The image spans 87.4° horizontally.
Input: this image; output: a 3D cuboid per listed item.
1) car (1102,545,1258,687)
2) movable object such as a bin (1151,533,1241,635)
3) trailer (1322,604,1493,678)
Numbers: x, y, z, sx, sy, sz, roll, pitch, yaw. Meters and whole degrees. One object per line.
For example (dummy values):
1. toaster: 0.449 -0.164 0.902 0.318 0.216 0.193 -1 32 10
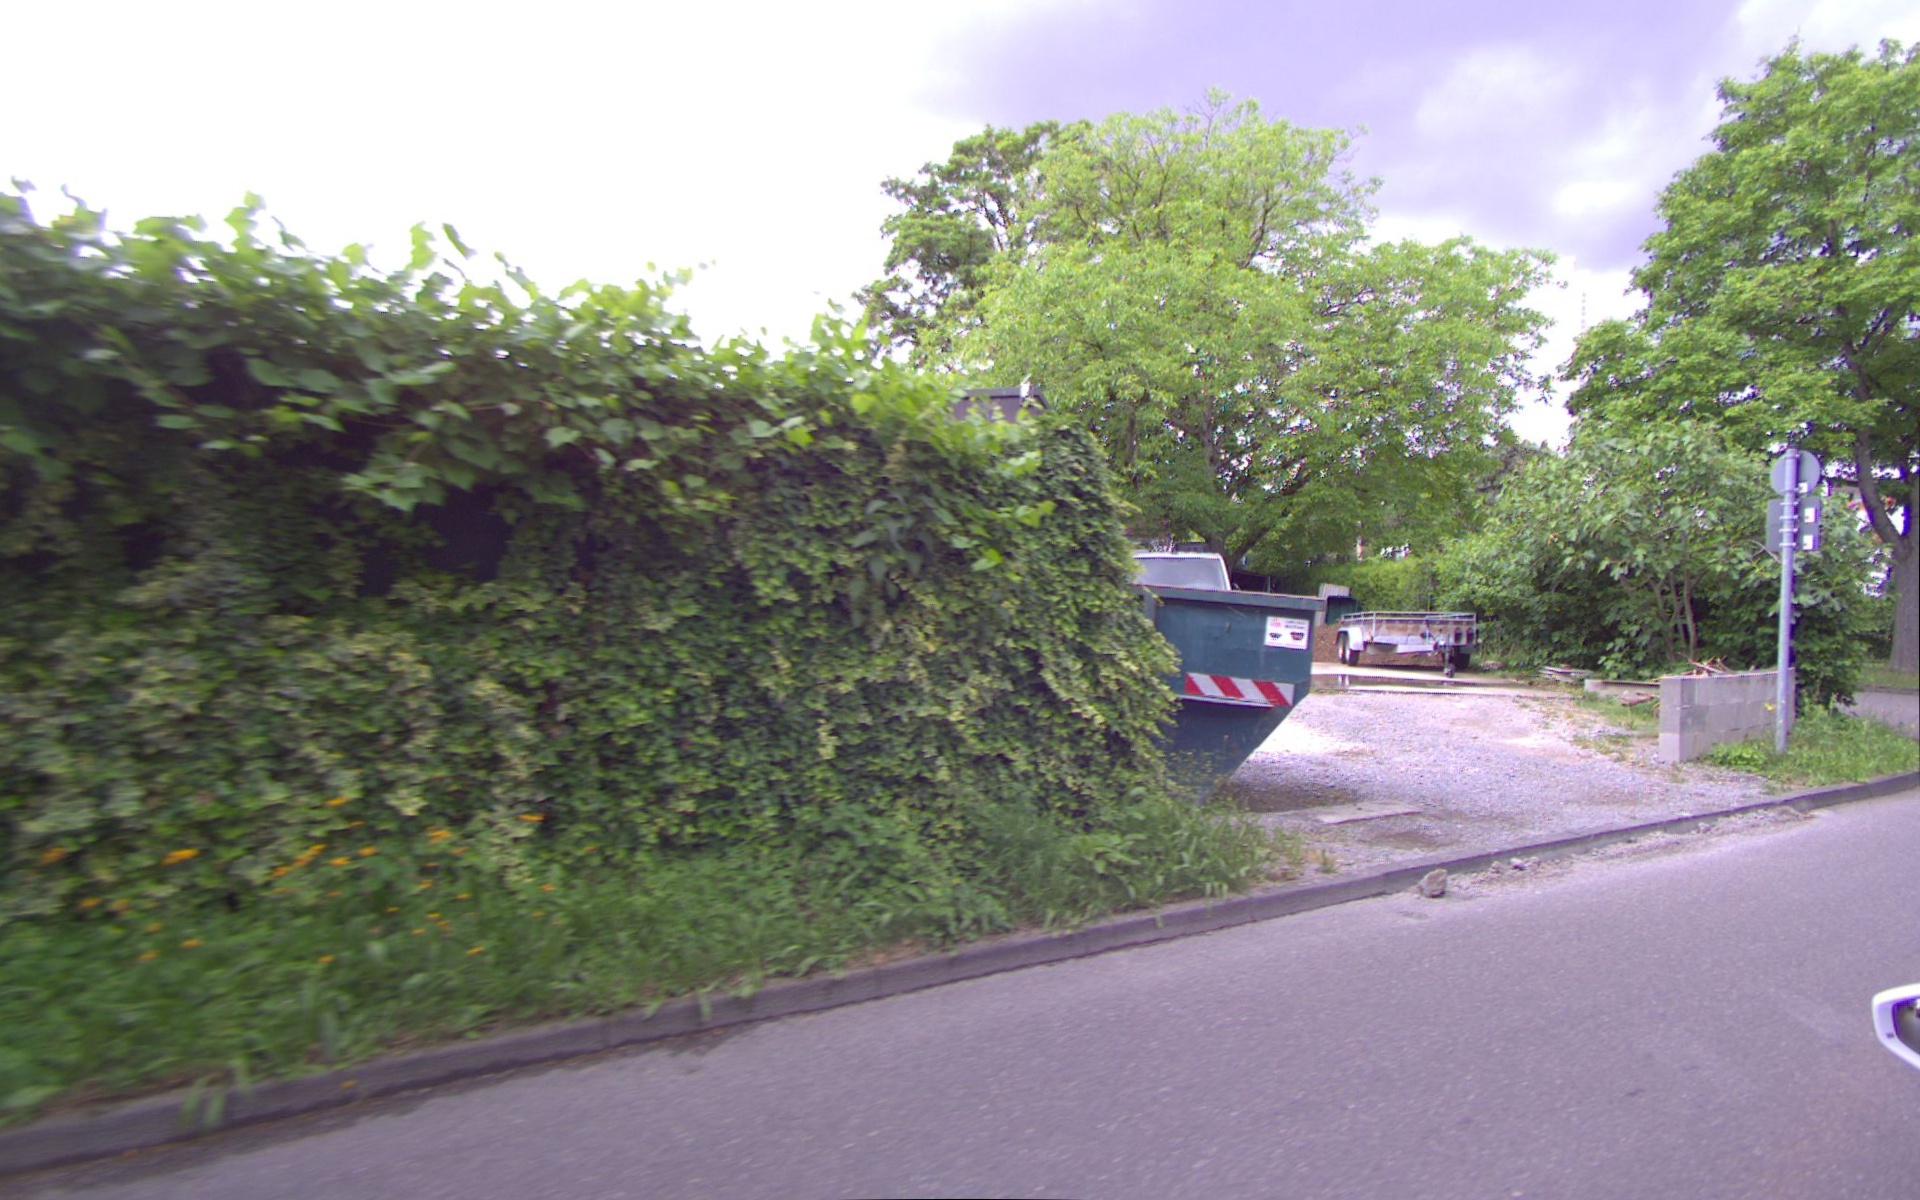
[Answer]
1. car: 3.359 0.150 15.764 1.989 1.829 4.931 1 2 11
2. movable object such as a bin: 5.724 -0.421 24.542 1.959 2.312 2.784 2 2 12
3. trailer: 7.667 0.642 17.624 1.959 1.061 4.002 2 1 13
